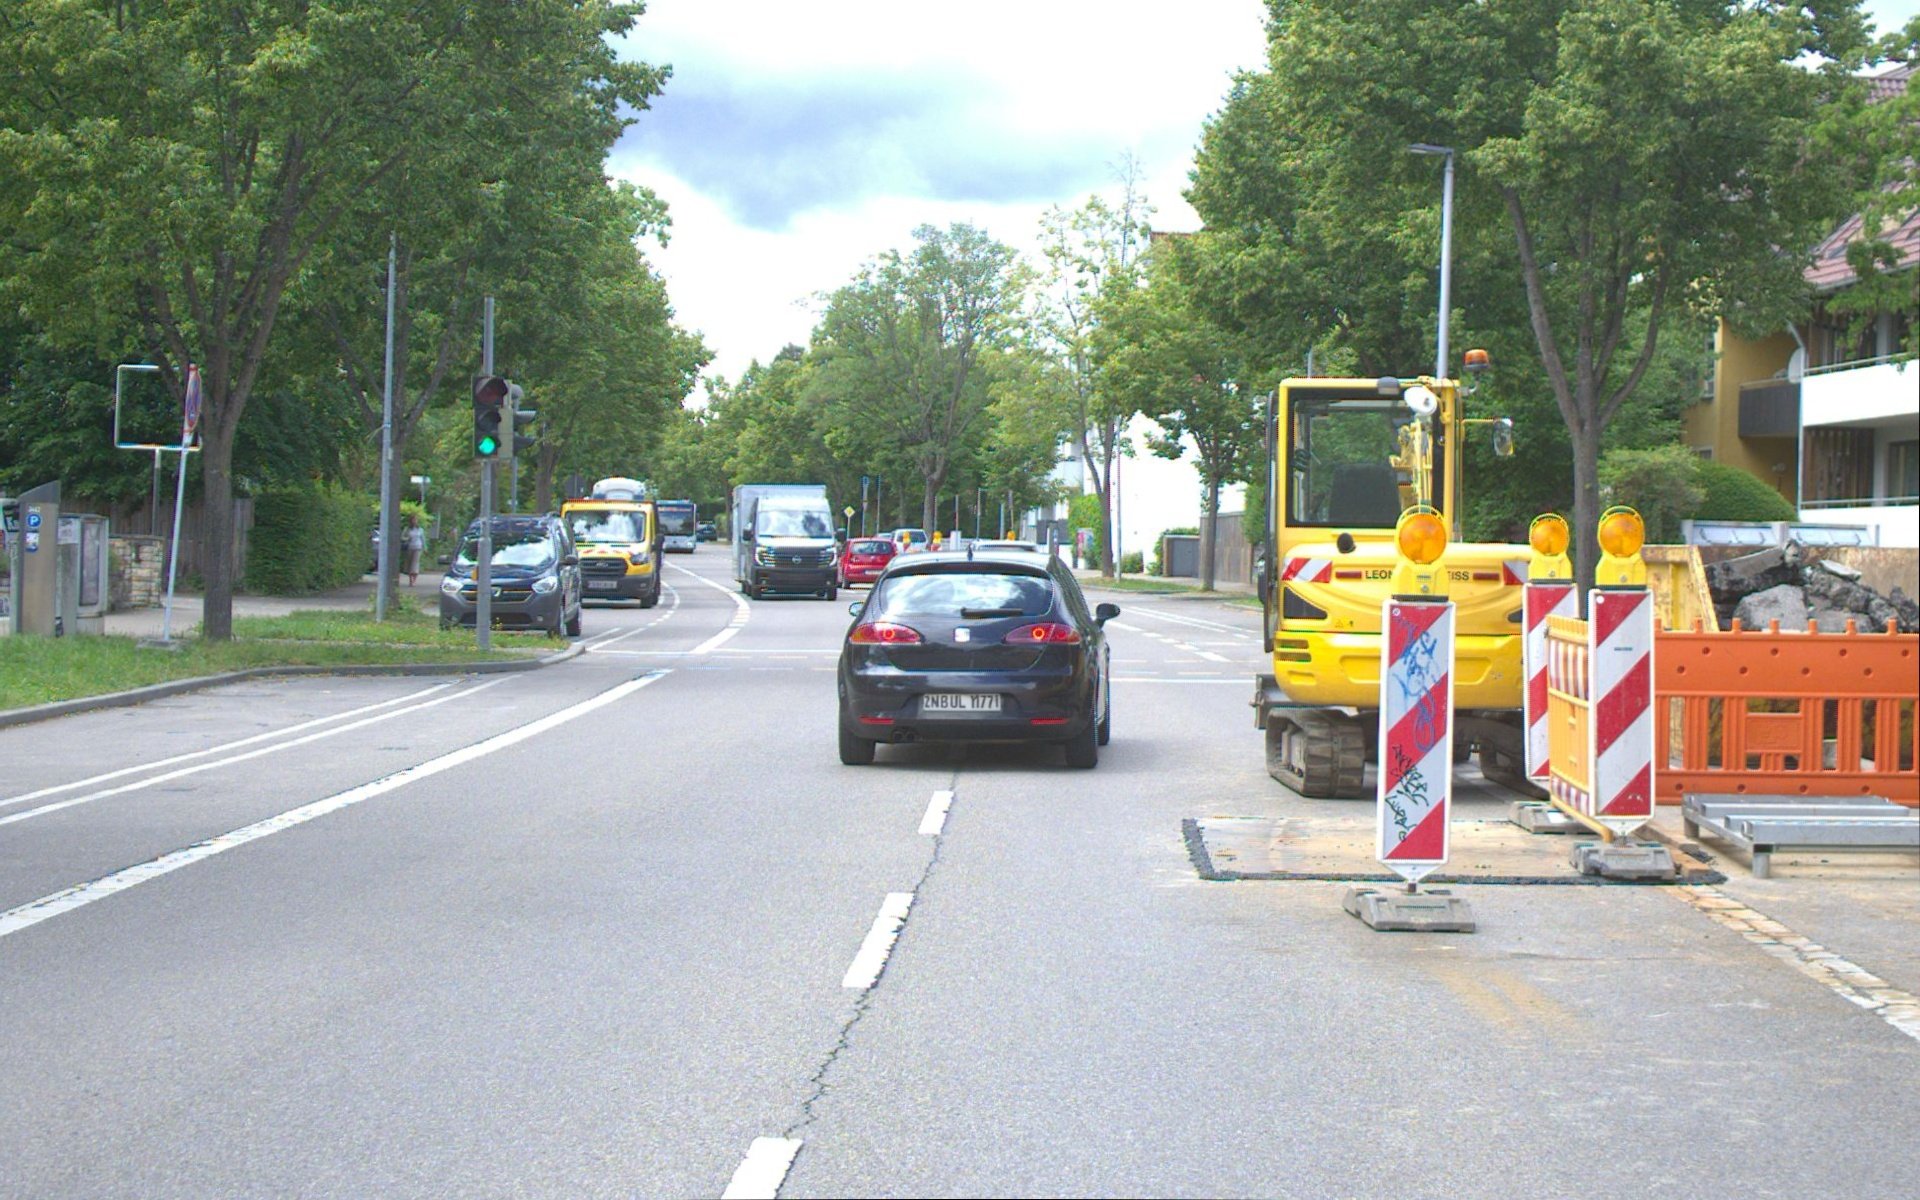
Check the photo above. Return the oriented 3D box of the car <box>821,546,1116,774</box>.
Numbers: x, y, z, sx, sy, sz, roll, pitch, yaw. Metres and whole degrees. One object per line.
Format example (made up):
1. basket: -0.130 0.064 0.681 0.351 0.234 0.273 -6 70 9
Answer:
1. car: 0.135 0.351 23.916 1.819 1.433 3.739 0 1 4

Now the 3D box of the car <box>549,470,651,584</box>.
1. car: -8.567 -1.743 82.206 2.092 2.617 5.045 1 1 -2

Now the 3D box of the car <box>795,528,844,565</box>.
1. car: -5.327 -2.051 130.866 1.810 1.370 3.693 1 1 -2

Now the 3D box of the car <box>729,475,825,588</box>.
1. car: -4.641 -1.766 88.170 2.287 2.782 7.144 0 1 -2

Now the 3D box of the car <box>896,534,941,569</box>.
1. car: -1.749 -2.061 145.394 1.810 1.410 3.693 1 1 0

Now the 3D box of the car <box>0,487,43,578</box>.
1. car: -20.302 -1.348 67.617 3.988 1.763 1.745 1 1 6

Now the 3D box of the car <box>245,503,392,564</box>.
1. car: -17.317 -1.791 92.872 3.682 1.588 1.679 1 1 -2

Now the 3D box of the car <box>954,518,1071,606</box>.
1. car: 1.012 -0.770 68.185 1.905 1.680 3.741 0 1 -5

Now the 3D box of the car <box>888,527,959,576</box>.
1. car: -1.122 -1.476 103.742 1.809 1.410 3.694 1 1 -6

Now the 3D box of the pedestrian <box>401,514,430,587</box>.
1. pedestrian: -12.974 -1.186 81.900 0.595 1.735 0.574 1 1 -3

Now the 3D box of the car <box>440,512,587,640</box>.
1. car: -6.400 -0.378 49.650 1.667 1.766 4.468 0 1 -2

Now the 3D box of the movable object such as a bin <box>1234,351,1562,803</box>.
1. movable object such as a bin: 2.666 -0.172 21.659 1.768 2.565 3.739 1 1 4

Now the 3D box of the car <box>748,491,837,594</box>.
1. car: -3.969 -1.386 82.005 2.028 2.376 5.262 0 1 -2

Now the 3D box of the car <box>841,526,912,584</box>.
1. car: -2.413 -1.300 98.544 1.790 1.617 3.740 0 1 -5
